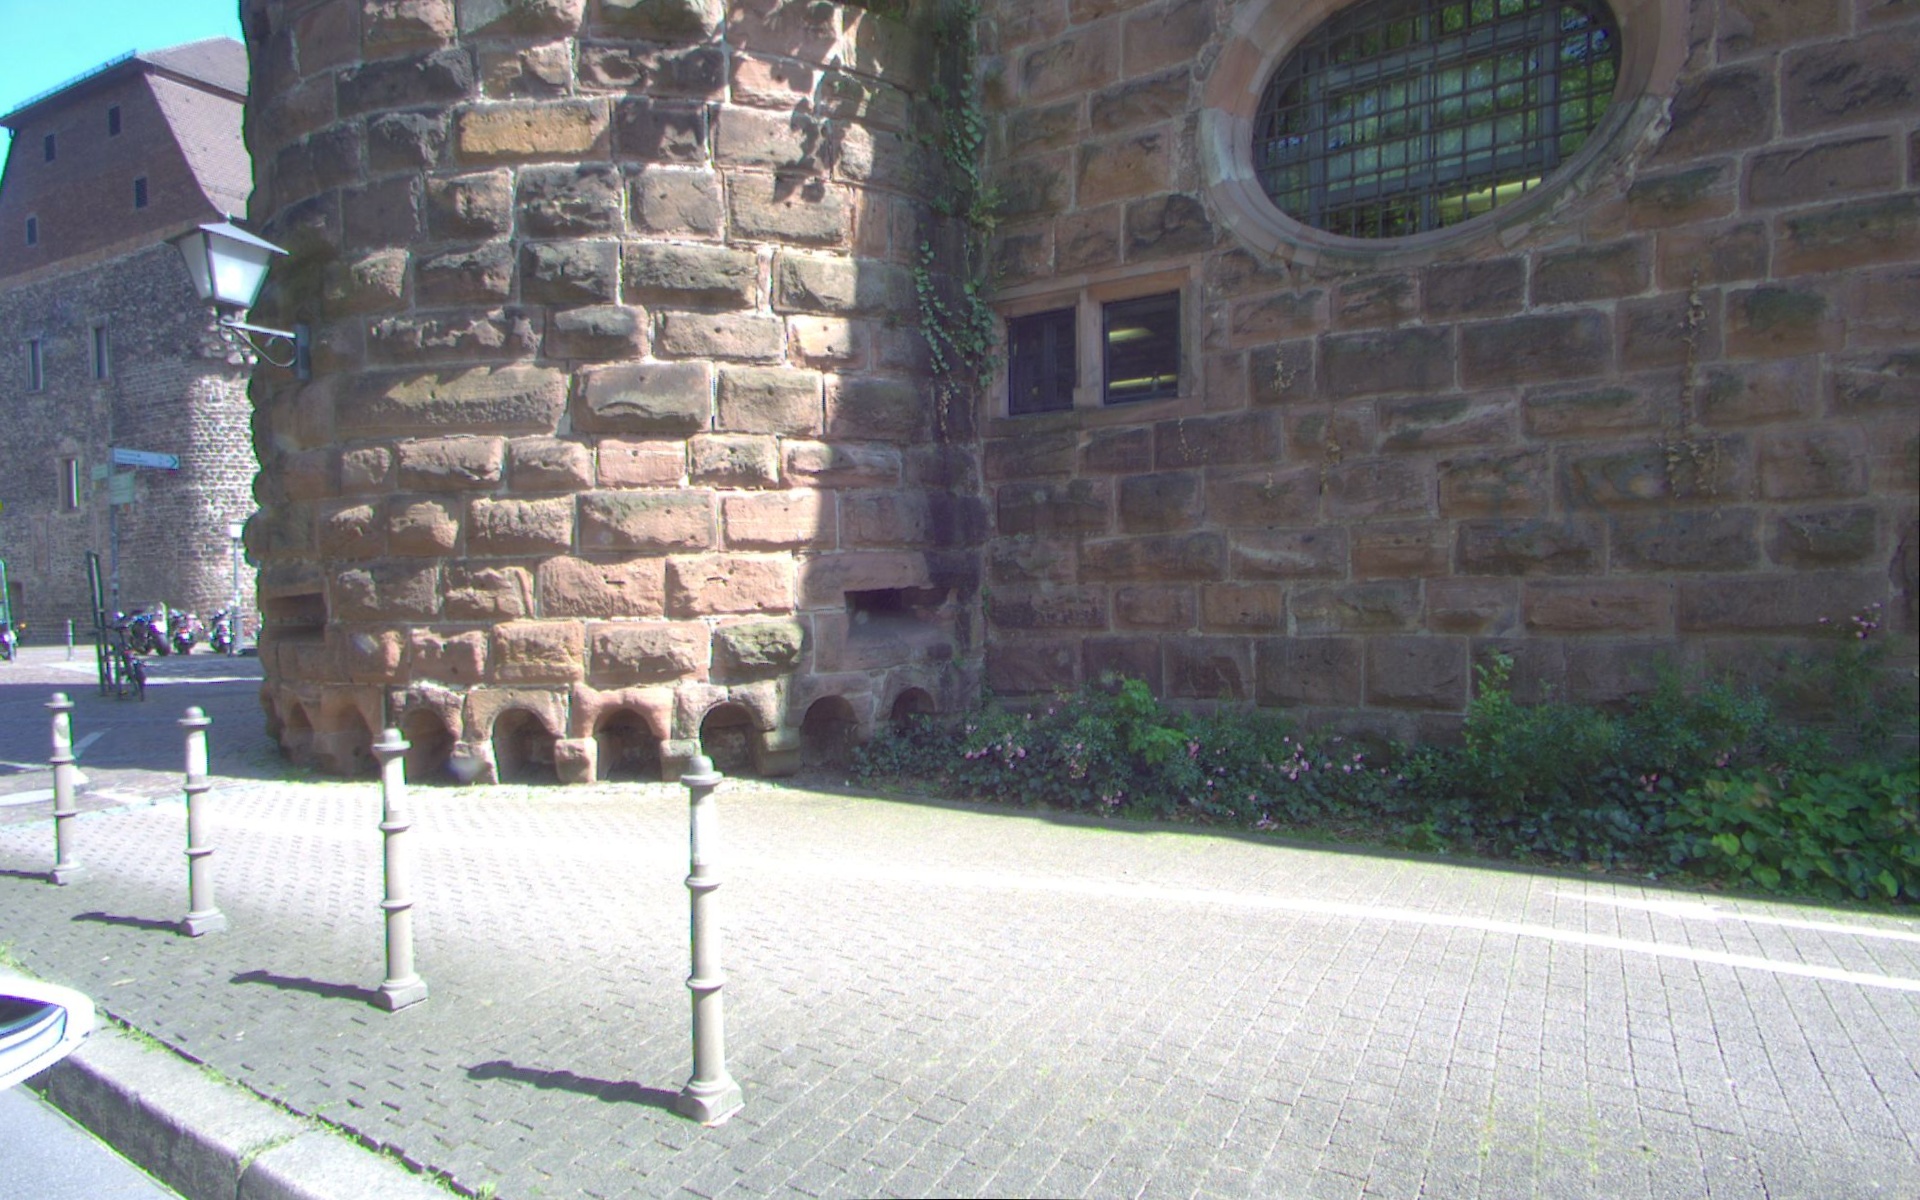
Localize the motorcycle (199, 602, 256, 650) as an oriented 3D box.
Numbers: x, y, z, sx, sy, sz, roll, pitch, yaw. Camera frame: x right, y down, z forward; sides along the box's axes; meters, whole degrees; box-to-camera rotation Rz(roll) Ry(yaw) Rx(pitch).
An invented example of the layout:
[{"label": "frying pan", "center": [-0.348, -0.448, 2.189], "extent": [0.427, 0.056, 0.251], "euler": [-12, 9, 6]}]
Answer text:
[{"label": "motorcycle", "center": [-19.799, 0.711, 27.067], "extent": [2.002, 1.251, 0.545], "euler": [-1, -2, 32]}]

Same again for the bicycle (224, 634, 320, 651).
[{"label": "bicycle", "center": [-17.545, 1.083, 25.567], "extent": [1.916, 0.386, 0.909], "euler": [0, -2, -44]}]

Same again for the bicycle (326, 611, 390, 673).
[{"label": "bicycle", "center": [-11.958, 0.806, 19.872], "extent": [1.707, 1.178, 0.445], "euler": [0, 1, 36]}]

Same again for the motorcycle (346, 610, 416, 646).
[{"label": "motorcycle", "center": [-18.123, 0.883, 31.361], "extent": [0.474, 1.067, 1.858], "euler": [-1, -2, 40]}]

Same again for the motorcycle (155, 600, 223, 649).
[{"label": "motorcycle", "center": [-20.241, 0.662, 26.268], "extent": [2.280, 1.251, 0.674], "euler": [-1, -2, 32]}]

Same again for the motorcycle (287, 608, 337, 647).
[{"label": "motorcycle", "center": [-18.199, 0.783, 28.117], "extent": [1.815, 1.086, 0.506], "euler": [-1, -2, 35]}]

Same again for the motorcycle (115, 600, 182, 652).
[{"label": "motorcycle", "center": [-20.619, 0.667, 25.437], "extent": [2.169, 1.282, 0.654], "euler": [-1, -1, 32]}]

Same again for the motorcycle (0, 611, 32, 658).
[{"label": "motorcycle", "center": [-22.198, 0.780, 23.055], "extent": [2.453, 1.026, 0.565], "euler": [0, 1, 32]}]

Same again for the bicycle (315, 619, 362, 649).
[{"label": "bicycle", "center": [-18.380, 0.993, 29.610], "extent": [1.898, 0.831, 0.353], "euler": [0, -1, 32]}]

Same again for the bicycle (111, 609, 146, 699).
[{"label": "bicycle", "center": [-12.026, 0.753, 14.472], "extent": [1.750, 1.220, 0.192], "euler": [0, 0, 44]}]
